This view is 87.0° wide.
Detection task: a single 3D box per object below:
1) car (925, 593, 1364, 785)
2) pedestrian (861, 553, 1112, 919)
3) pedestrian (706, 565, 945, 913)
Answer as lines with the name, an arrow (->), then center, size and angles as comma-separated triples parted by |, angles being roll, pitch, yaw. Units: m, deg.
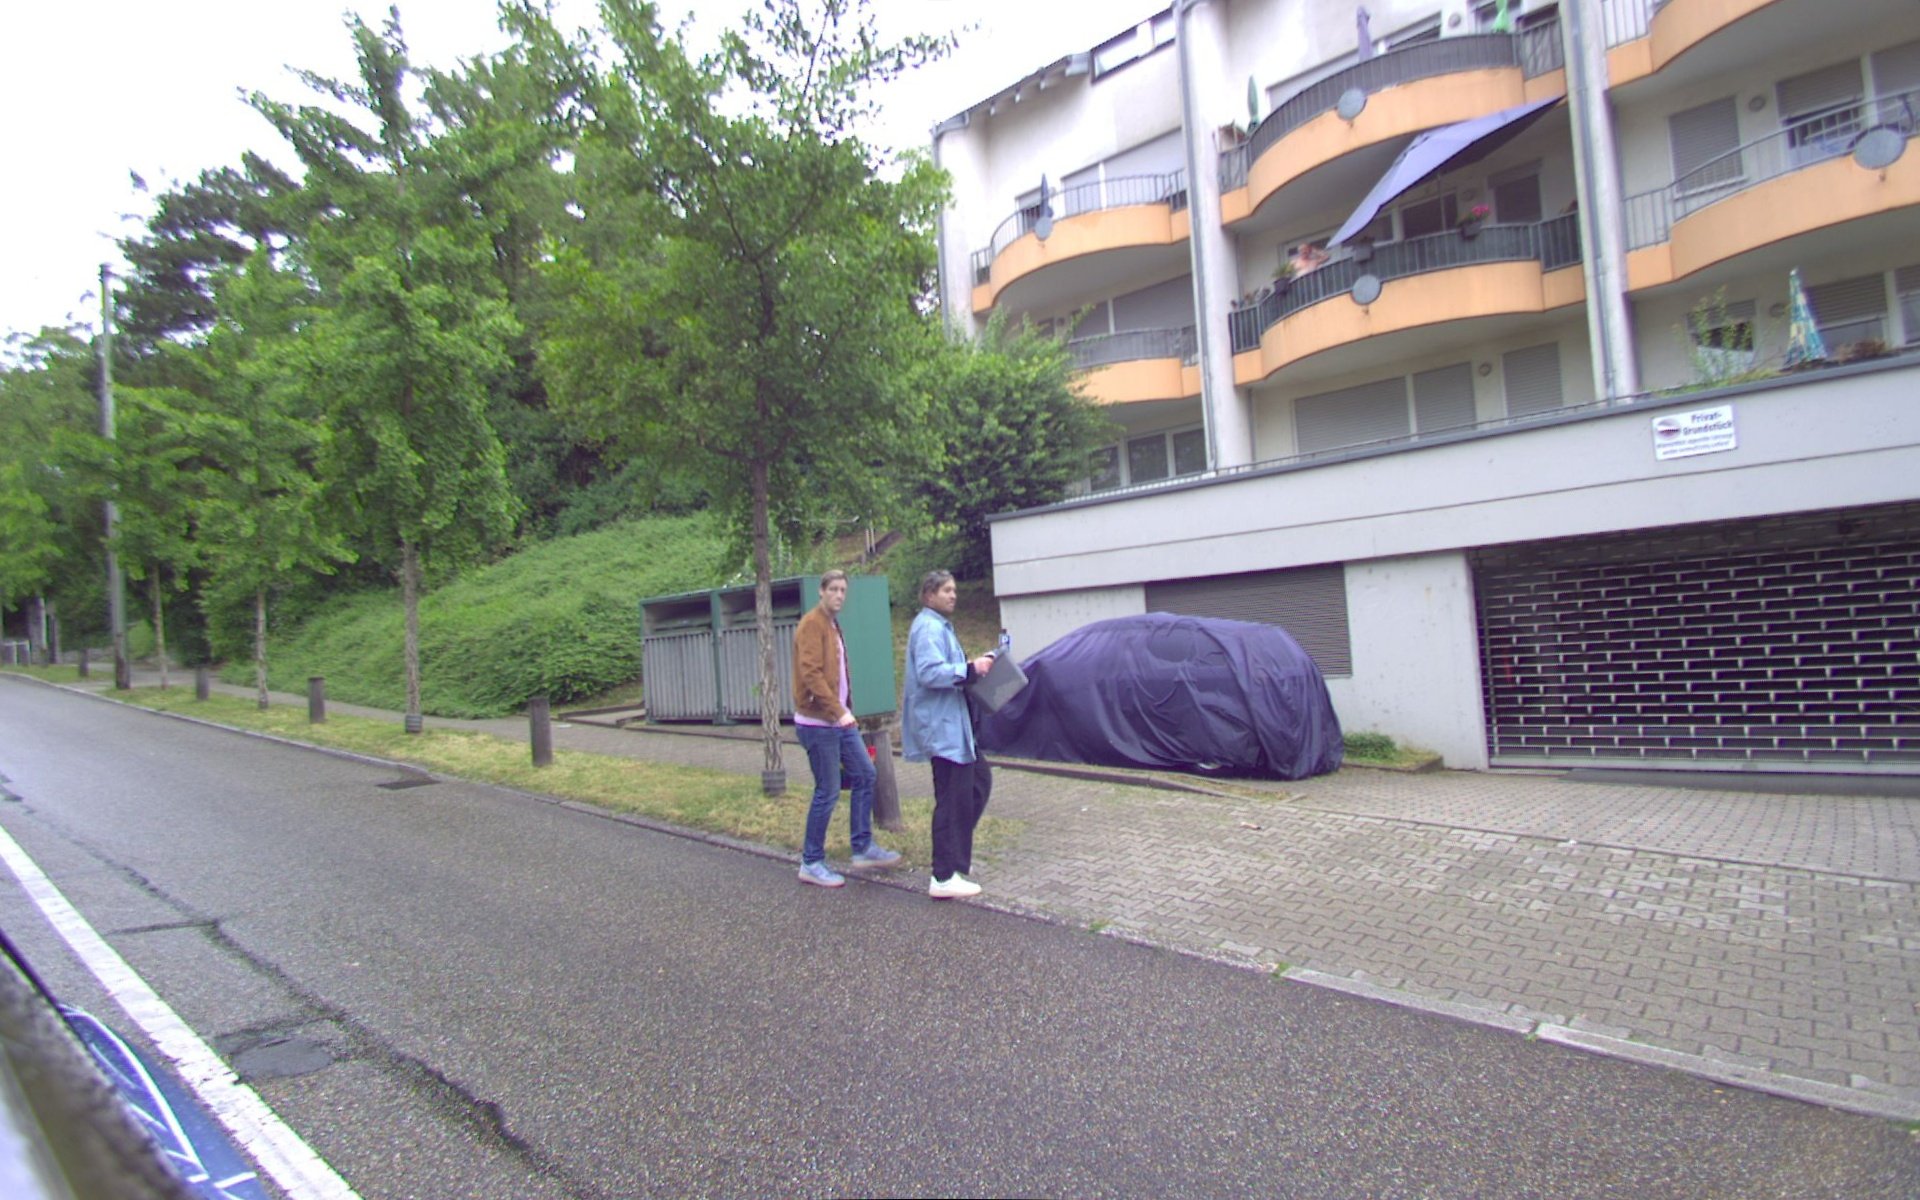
car -> 1.746, 0.825, 10.347 | 4.096, 1.573, 1.759 | -2, -5, 41
pedestrian -> 0.149, 0.664, 5.662 | 1.056, 1.795, 0.826 | -3, 2, -37
pedestrian -> -0.785, 0.719, 5.906 | 1.073, 1.795, 0.813 | -1, 2, 41
